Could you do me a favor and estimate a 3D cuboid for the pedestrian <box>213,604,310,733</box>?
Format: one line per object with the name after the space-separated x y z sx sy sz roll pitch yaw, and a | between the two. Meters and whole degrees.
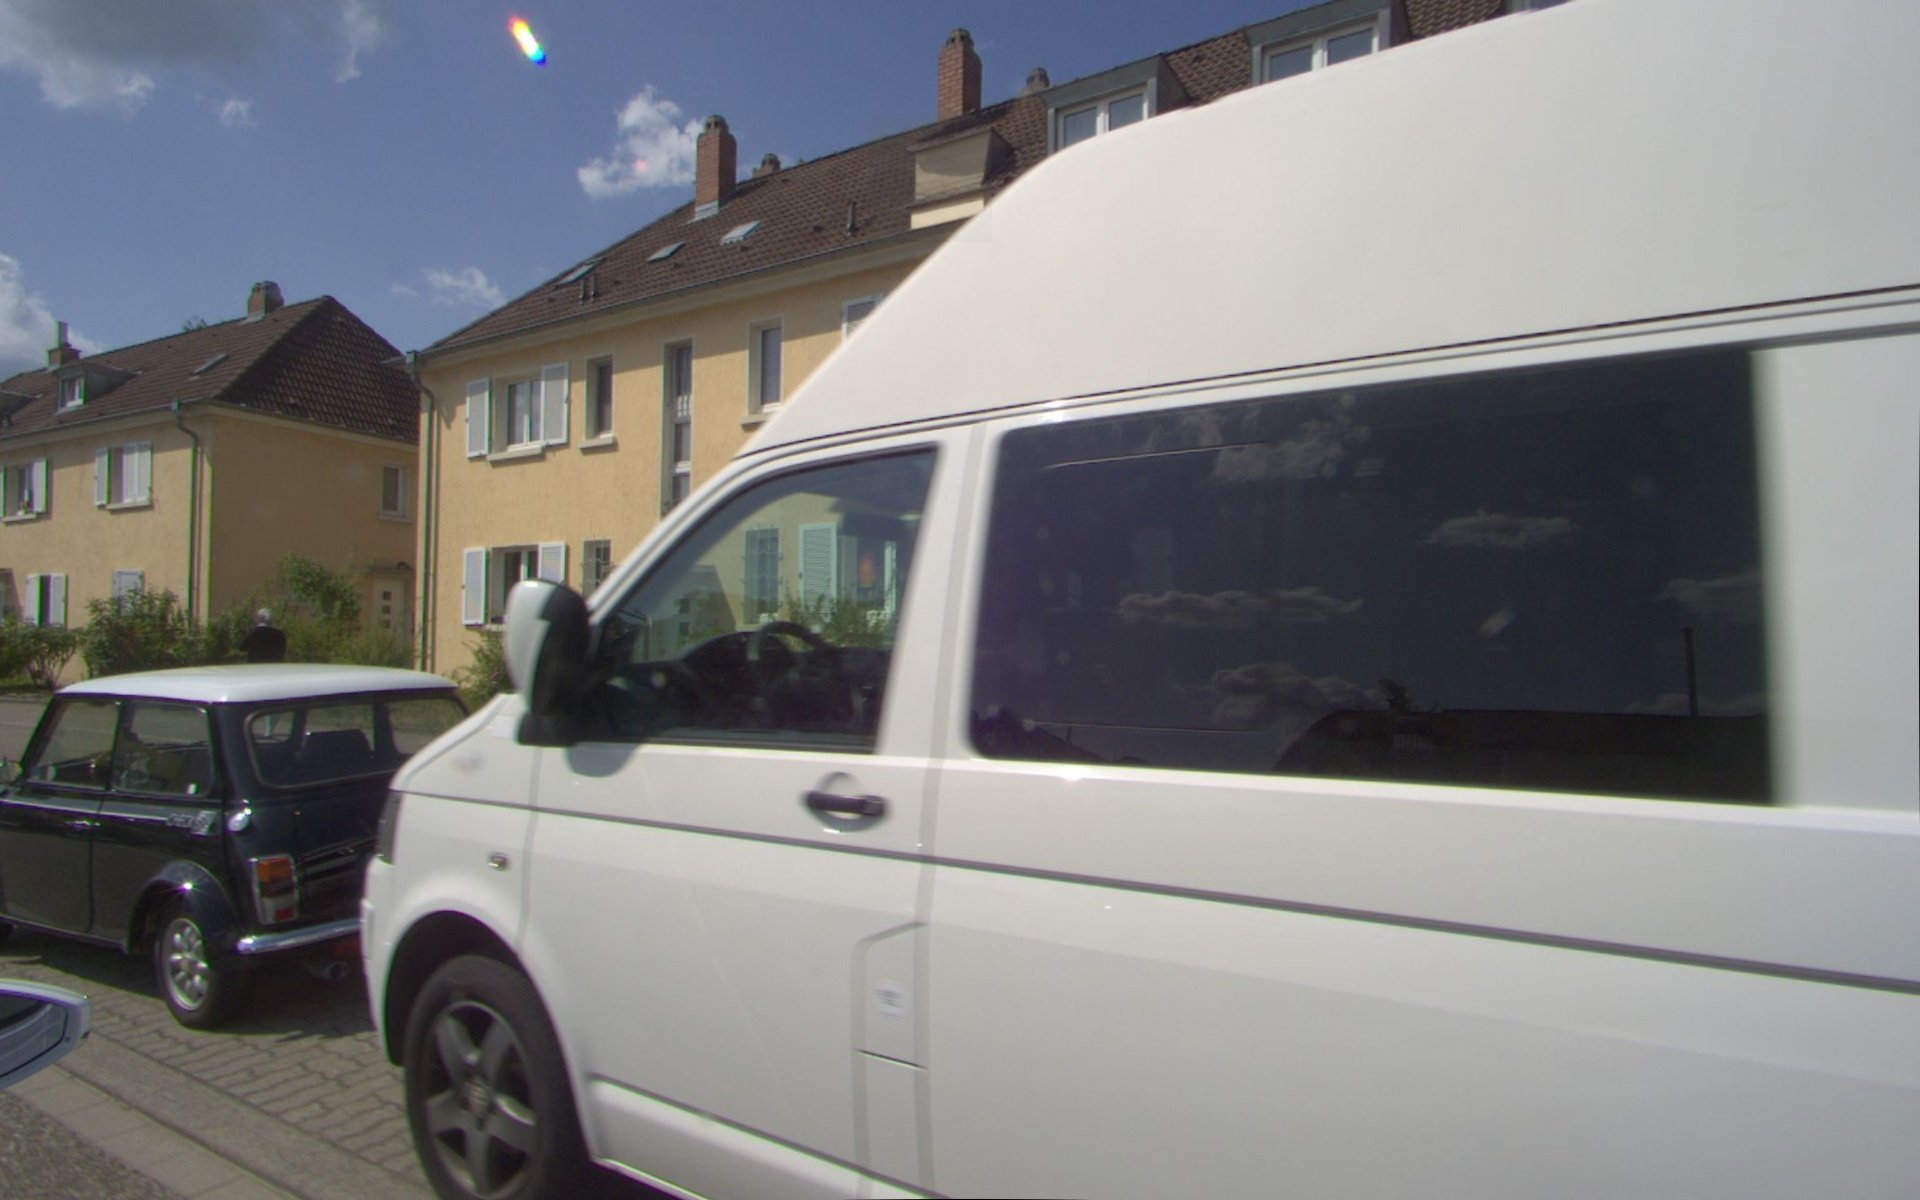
-9.419 0.914 13.516 0.628 1.673 0.852 0 -2 33 | pedestrian

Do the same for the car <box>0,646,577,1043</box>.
-3.520 0.904 4.794 3.237 1.357 1.341 -1 -3 28 | car

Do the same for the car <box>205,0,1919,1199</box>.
0.611 0.286 2.317 5.437 2.513 1.926 -1 -1 32 | car

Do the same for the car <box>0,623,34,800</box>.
-10.422 0.982 8.865 4.691 1.477 1.798 -1 -1 28 | car
